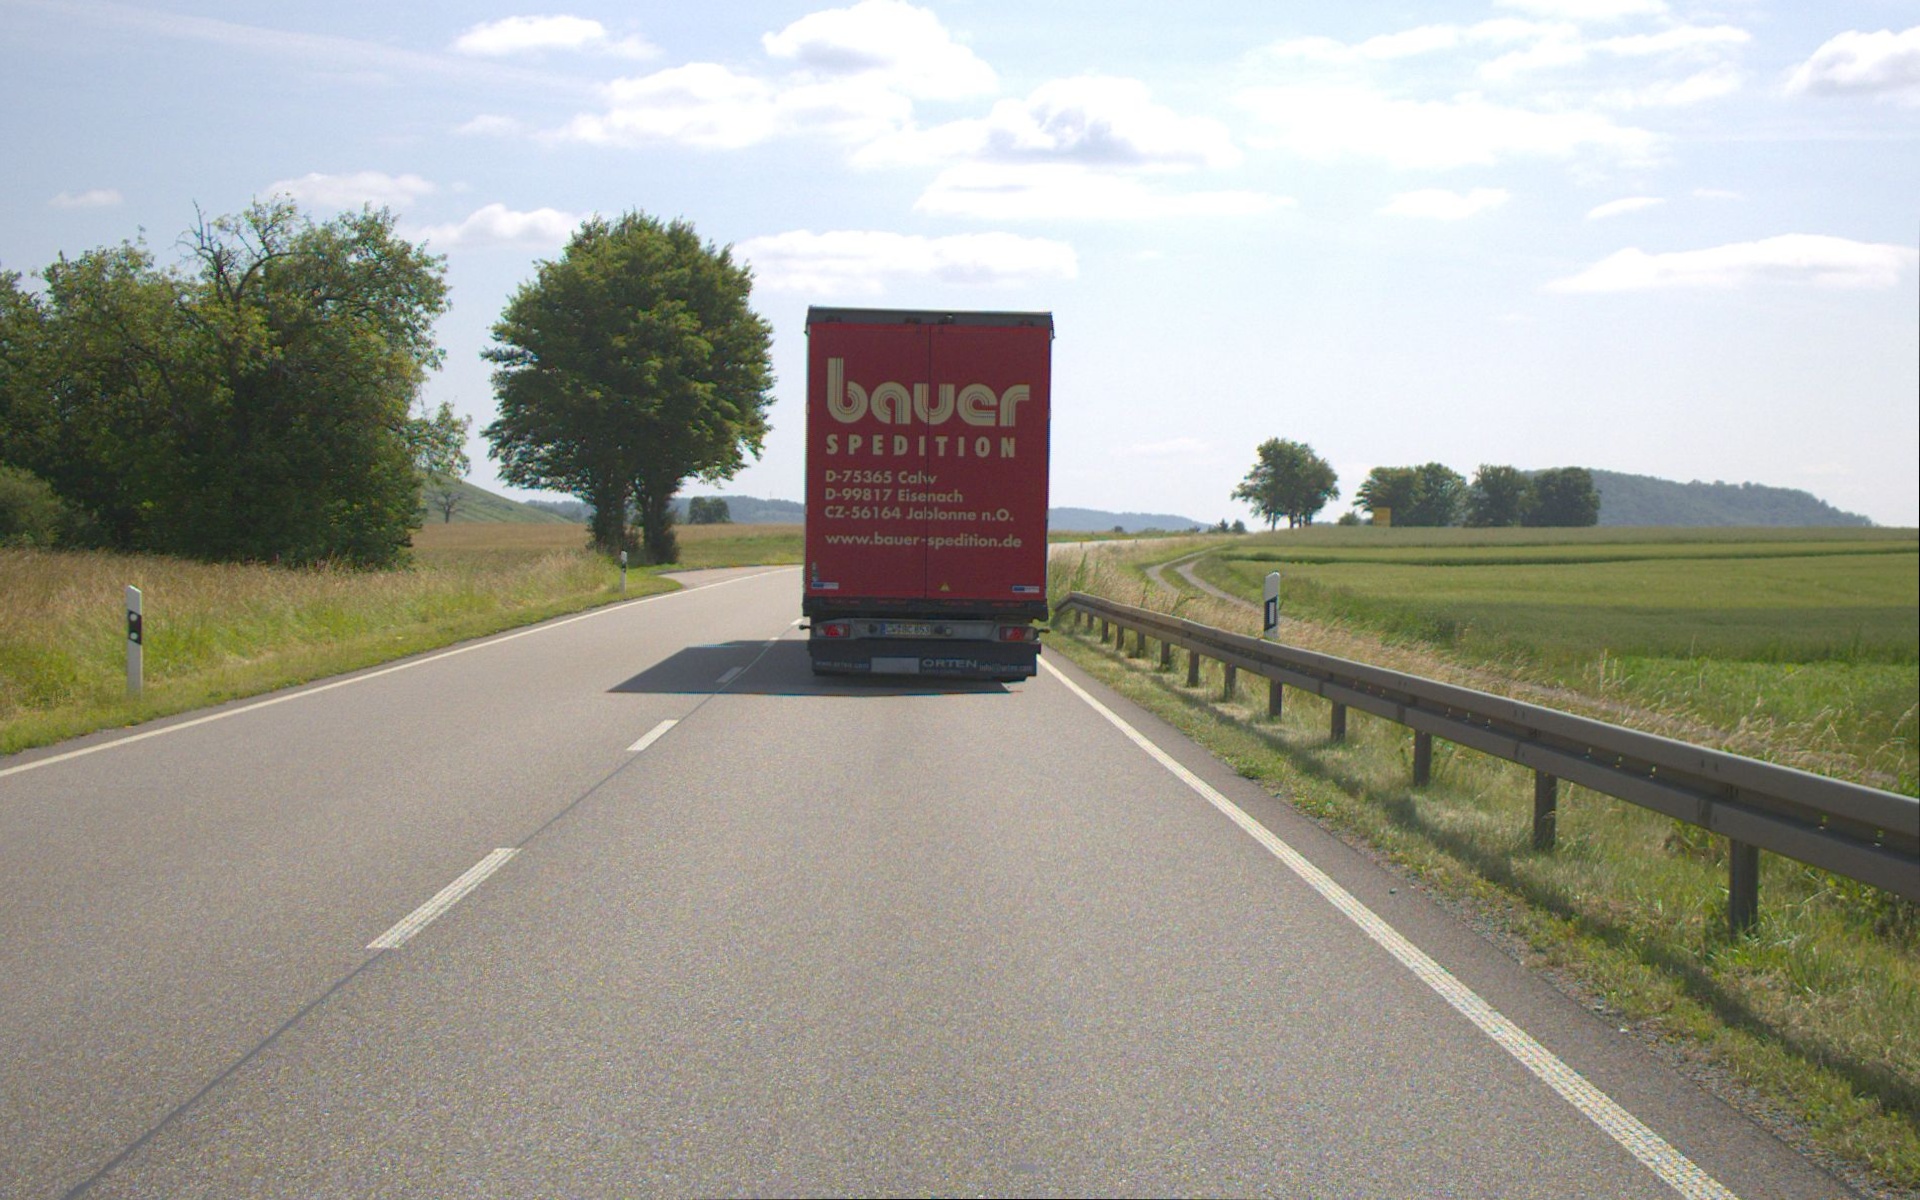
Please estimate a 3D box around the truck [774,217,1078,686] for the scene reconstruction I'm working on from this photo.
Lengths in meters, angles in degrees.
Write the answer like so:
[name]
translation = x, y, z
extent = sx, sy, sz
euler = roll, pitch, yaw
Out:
[truck]
translation = -0.497, -1.544, 39.776
extent = 2.975, 4.697, 9.366
euler = 2, 0, -2
